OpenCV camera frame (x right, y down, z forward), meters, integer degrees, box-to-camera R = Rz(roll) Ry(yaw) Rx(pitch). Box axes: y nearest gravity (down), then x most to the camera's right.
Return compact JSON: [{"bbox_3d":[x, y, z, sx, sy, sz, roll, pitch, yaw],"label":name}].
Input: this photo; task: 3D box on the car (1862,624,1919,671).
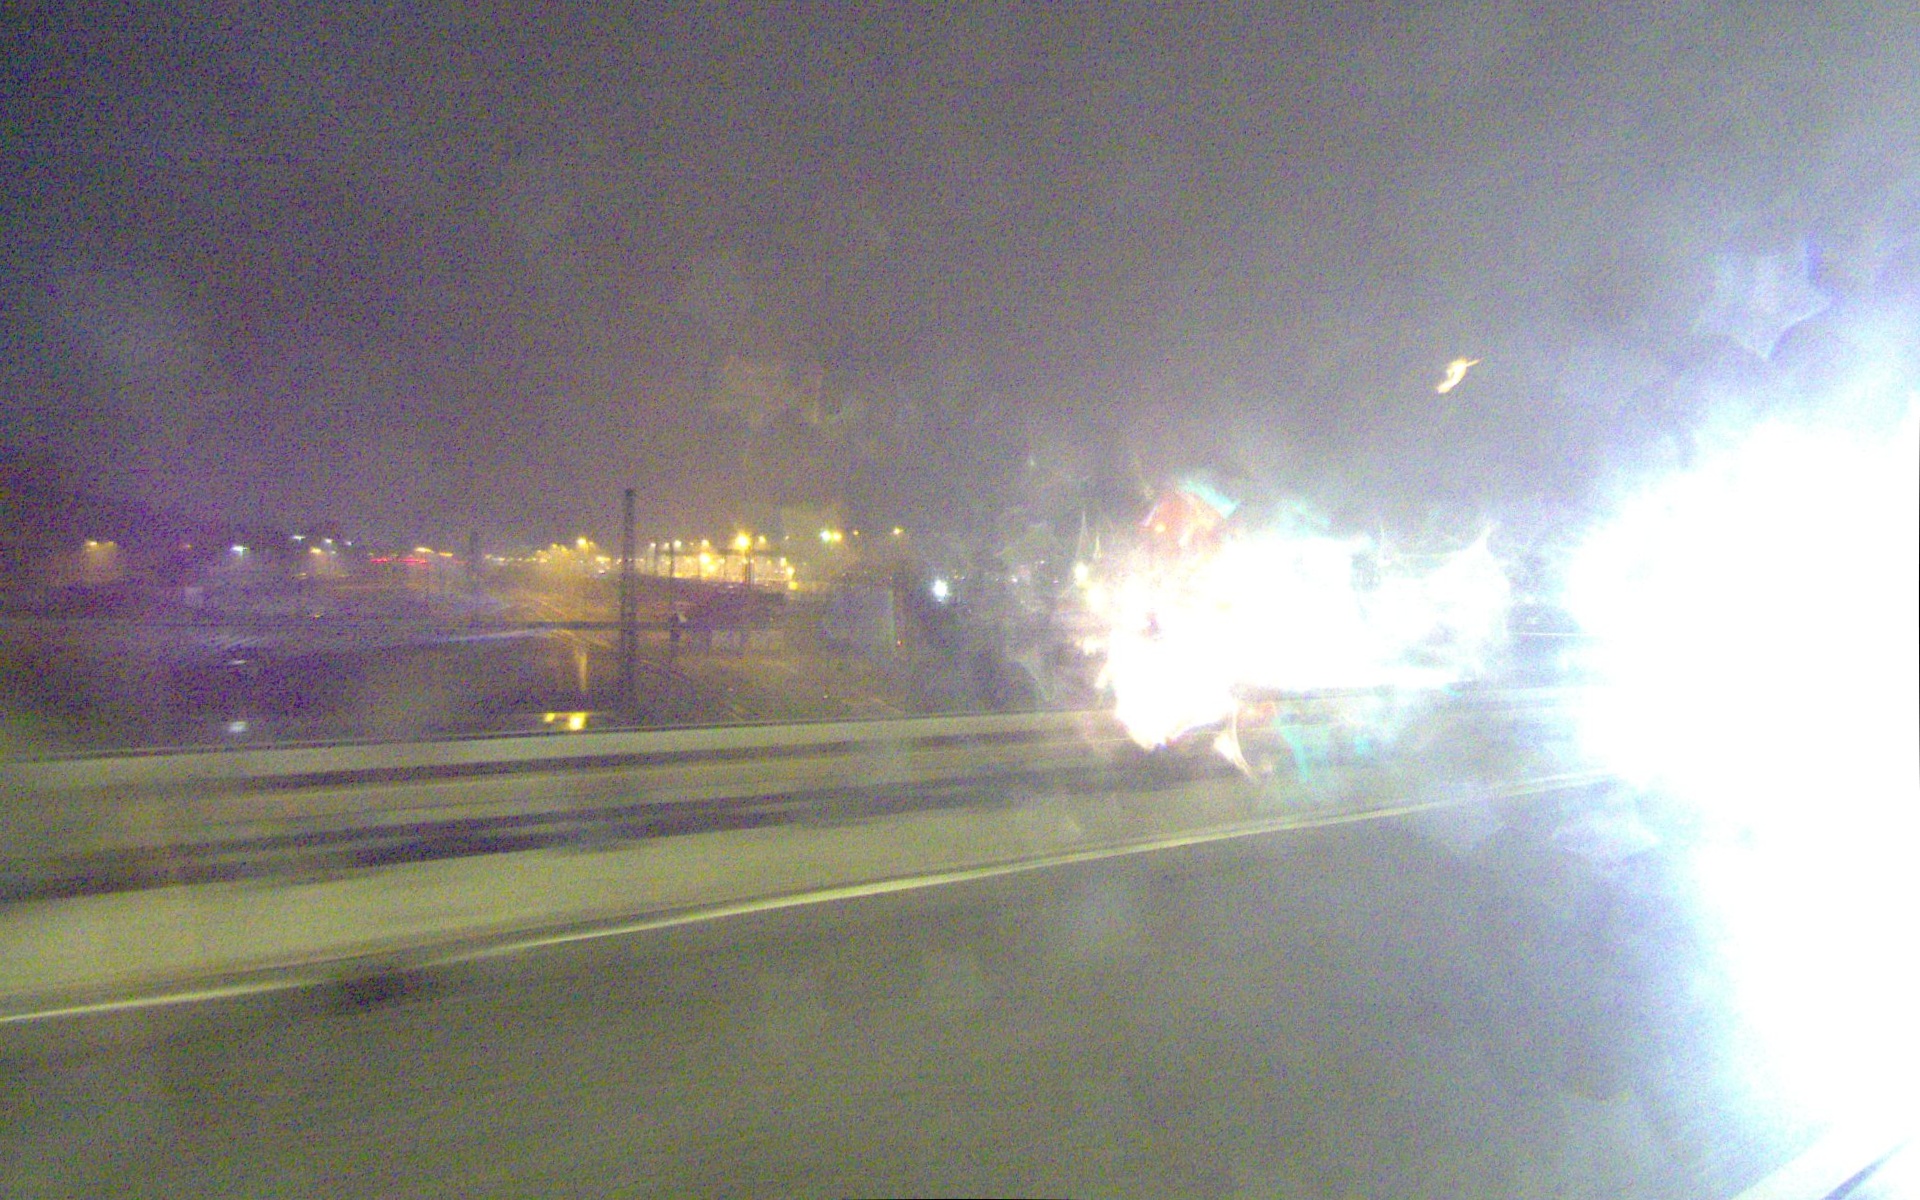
[{"bbox_3d":[45.862,2.297,48.948,2.016,2.199,5.141,1,-1,33],"label":"car"}]
